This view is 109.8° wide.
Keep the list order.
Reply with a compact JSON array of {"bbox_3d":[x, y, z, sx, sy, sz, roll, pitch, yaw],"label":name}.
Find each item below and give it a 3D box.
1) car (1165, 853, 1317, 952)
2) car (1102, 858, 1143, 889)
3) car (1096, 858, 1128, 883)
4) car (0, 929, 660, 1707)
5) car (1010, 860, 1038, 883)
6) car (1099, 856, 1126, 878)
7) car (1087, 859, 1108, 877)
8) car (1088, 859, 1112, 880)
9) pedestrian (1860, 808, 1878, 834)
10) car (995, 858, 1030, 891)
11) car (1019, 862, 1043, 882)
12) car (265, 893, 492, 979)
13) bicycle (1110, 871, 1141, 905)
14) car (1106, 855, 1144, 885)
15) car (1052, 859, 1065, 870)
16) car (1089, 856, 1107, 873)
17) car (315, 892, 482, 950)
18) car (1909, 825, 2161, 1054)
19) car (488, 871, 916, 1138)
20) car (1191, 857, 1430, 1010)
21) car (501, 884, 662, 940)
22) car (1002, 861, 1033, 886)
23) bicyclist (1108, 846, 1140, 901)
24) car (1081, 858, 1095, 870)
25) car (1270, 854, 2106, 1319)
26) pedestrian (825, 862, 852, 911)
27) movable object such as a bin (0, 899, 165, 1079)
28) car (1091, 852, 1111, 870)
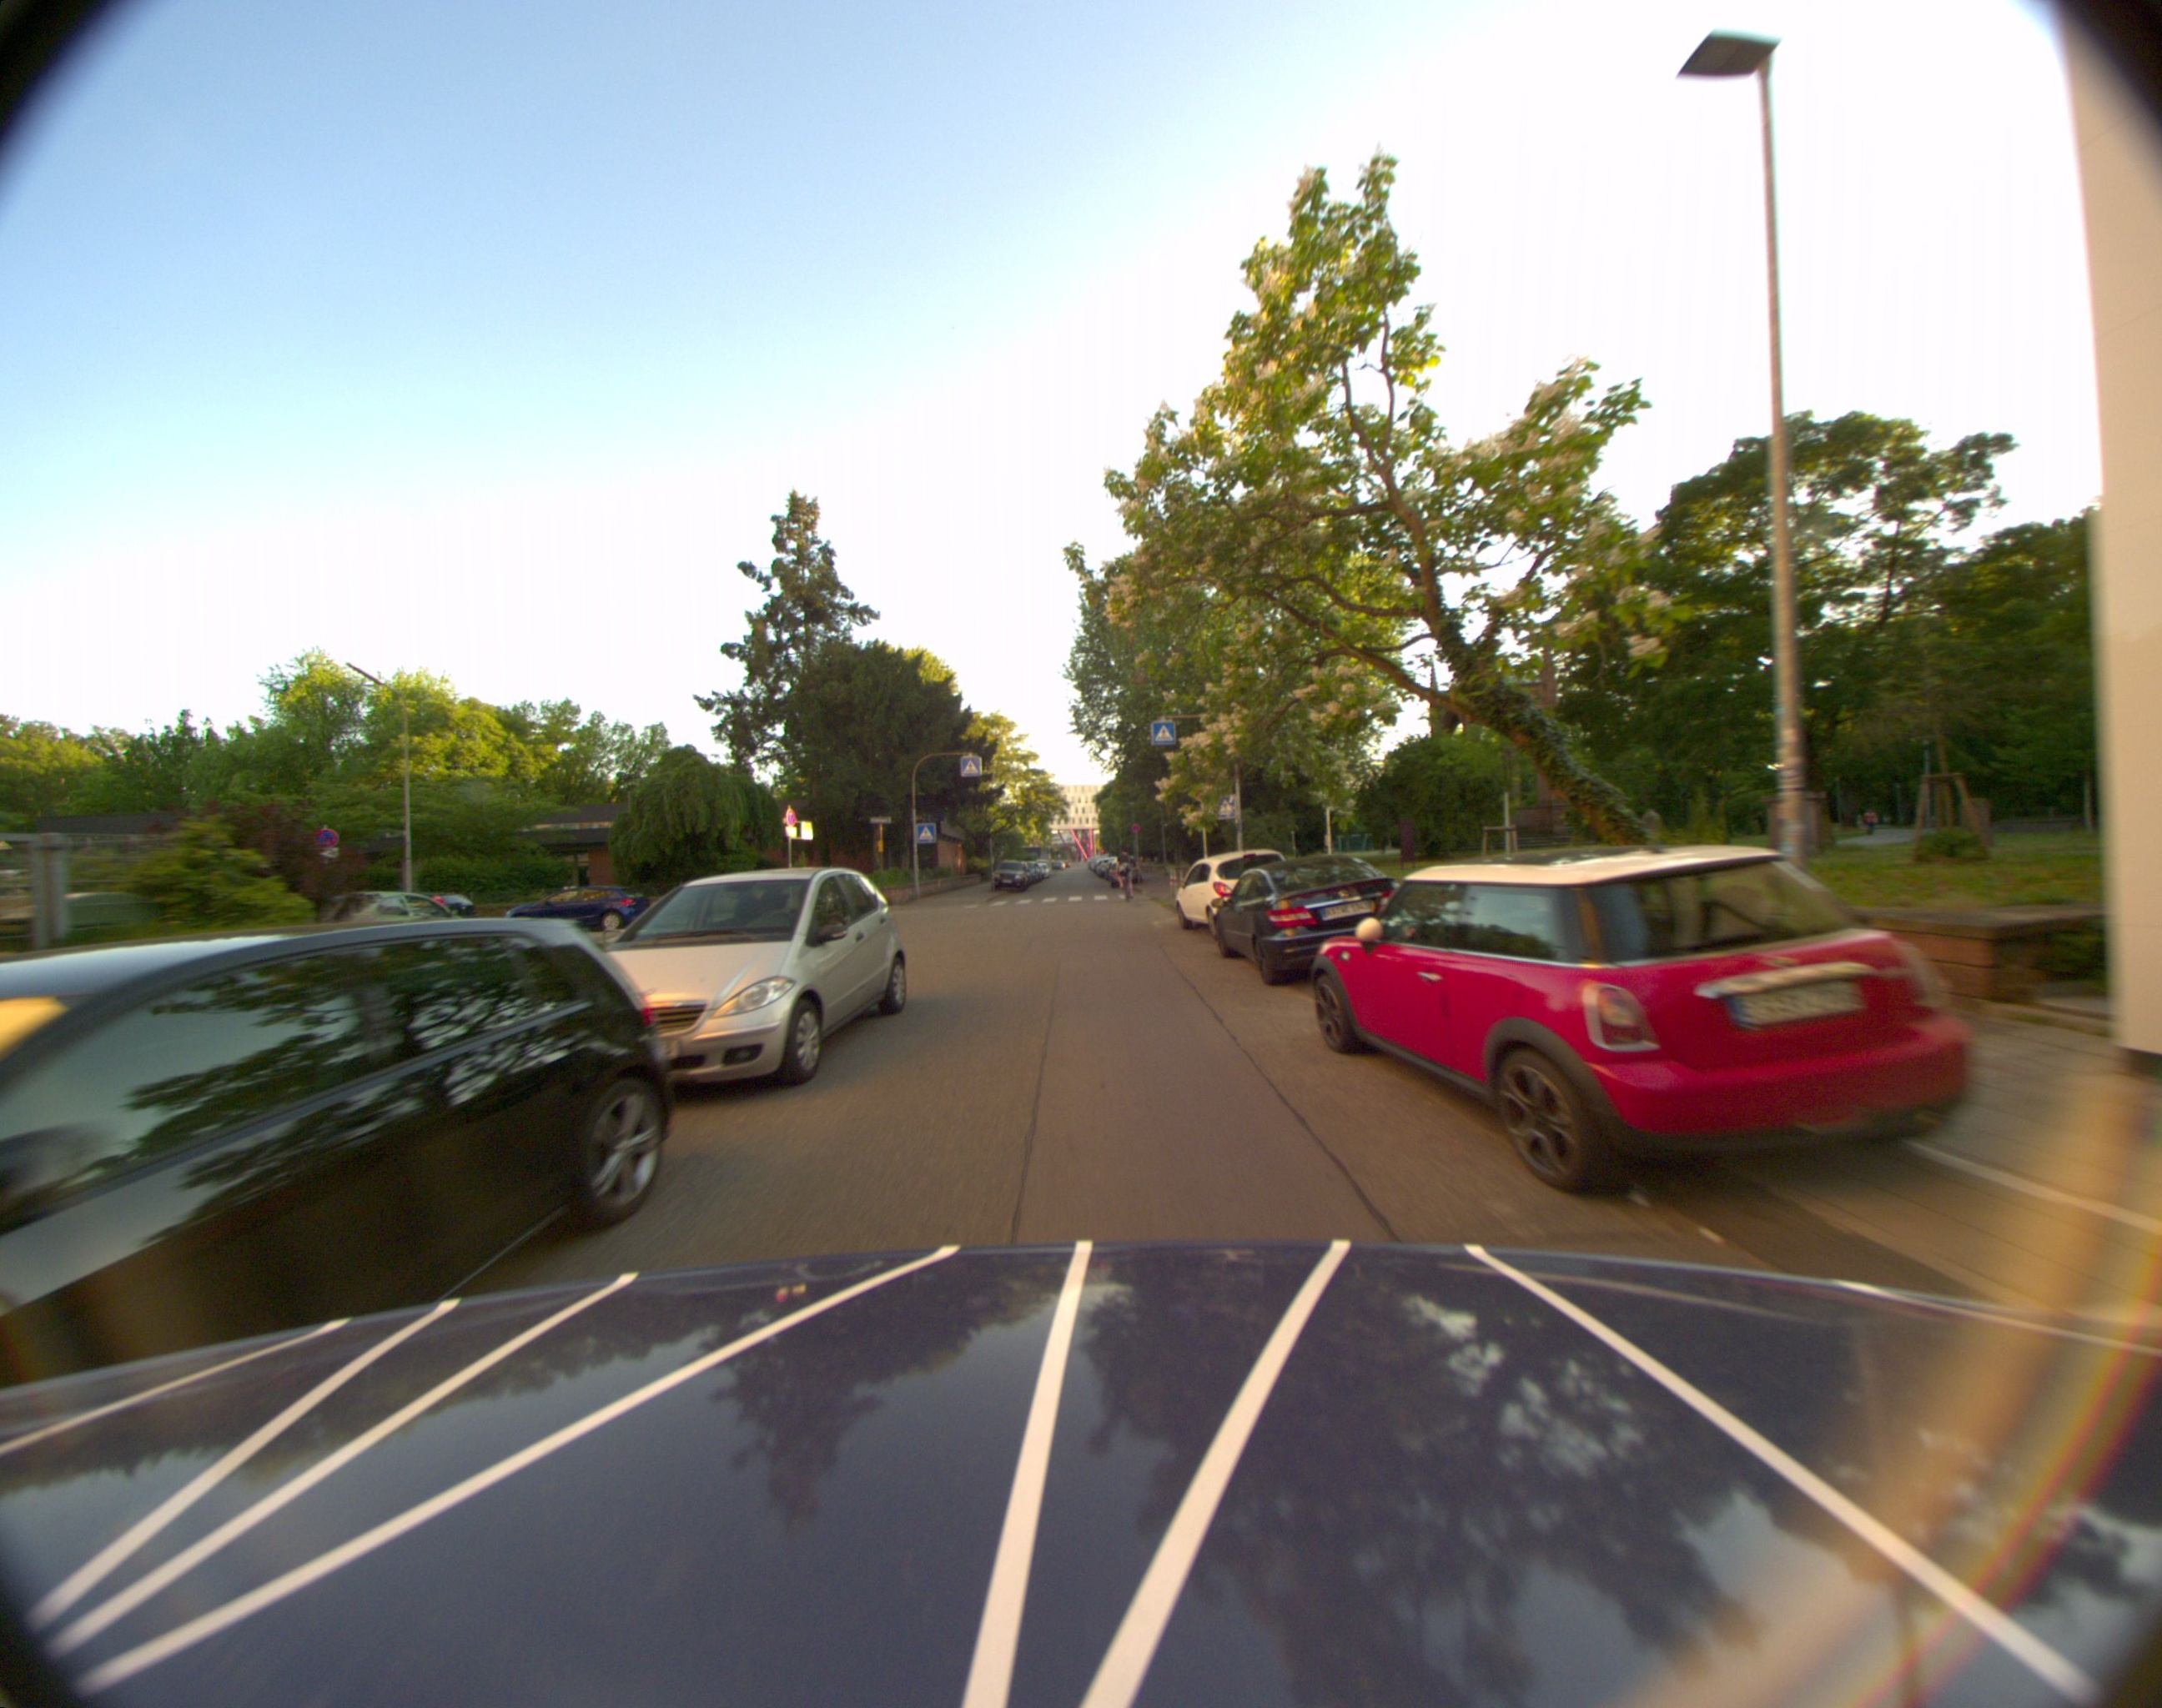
[{"bbox_3d":[2.942,0.859,14.831,1.666,1.505,3.883,-6,-1,-6],"label":"car"},{"bbox_3d":[2.294,1.097,43.021,1.786,1.442,3.884,-8,0,-3],"label":"car"},{"bbox_3d":[2.217,1.183,54.682,1.786,1.468,3.884,-8,0,-3],"label":"car"},{"bbox_3d":[-2.964,1.093,1.740,1.721,1.410,4.028,-2,-1,0],"label":"car"},{"bbox_3d":[-4.054,1.241,54.435,1.786,1.491,3.884,1,-1,-3],"label":"car"},{"bbox_3d":[2.582,1.061,63.090,1.786,1.562,3.884,-8,0,-3],"label":"car"},{"bbox_3d":[1.709,1.464,79.660,1.786,1.562,3.884,-8,0,-3],"label":"car"},{"bbox_3d":[1.687,1.372,68.538,1.786,1.562,3.884,-8,0,-3],"label":"car"},{"bbox_3d":[50.837,-2.128,49.033,0.666,1.659,0.667,-2,1,40],"label":"pedestrian"},{"bbox_3d":[-3.825,1.112,42.750,1.786,1.743,3.884,0,-1,-3],"label":"car"},{"bbox_3d":[-3.909,1.396,59.878,1.786,1.491,3.884,1,-1,-3],"label":"car"},{"bbox_3d":[-14.527,1.637,16.012,1.626,1.503,3.571,-3,-3,-5],"label":"car"},{"bbox_3d":[1.511,1.145,25.918,0.761,1.090,1.863,-1,0,-6],"label":"bicycle"},{"bbox_3d":[2.693,0.999,47.700,1.786,1.568,3.884,-8,0,-3],"label":"car"},{"bbox_3d":[-3.954,1.845,132.593,1.999,1.739,3.999,-4,0,-2],"label":"car"},{"bbox_3d":[2.220,1.400,99.563,1.786,2.024,3.884,-8,0,-3],"label":"car"},{"bbox_3d":[-20.726,2.002,23.181,3.510,1.476,1.534,-3,-1,-6],"label":"car"},{"bbox_3d":[7.996,0.540,4.635,1.597,1.513,3.876,-2,-1,0],"label":"car"},{"bbox_3d":[-2.827,0.999,6.767,1.814,1.566,3.885,-2,-1,0],"label":"car"},{"bbox_3d":[2.760,0.867,10.276,1.666,1.407,4.414,-8,0,-1],"label":"car"},{"bbox_3d":[-15.558,1.777,23.851,3.790,1.476,1.723,-2,-1,-9],"label":"car"},{"bbox_3d":[-3.991,1.239,48.584,1.786,1.491,3.884,1,-1,-3],"label":"car"},{"bbox_3d":[1.454,0.660,25.914,0.861,1.797,1.016,-2,0,-6],"label":"bicyclist"},{"bbox_3d":[1.154,1.679,125.399,1.786,1.772,4.012,-8,0,-3],"label":"car"},{"bbox_3d":[2.659,0.839,4.640,1.666,1.402,3.926,-8,0,-3],"label":"car"},{"bbox_3d":[-8.744,1.176,27.383,0.826,1.716,0.860,1,0,-23],"label":"pedestrian"},{"bbox_3d":[-9.677,1.185,6.755,1.126,1.462,1.582,-3,-1,-4],"label":"movable object such as a bin"},{"bbox_3d":[2.325,0.878,89.496,1.964,1.825,3.884,-8,0,-3],"label":"car"}]
